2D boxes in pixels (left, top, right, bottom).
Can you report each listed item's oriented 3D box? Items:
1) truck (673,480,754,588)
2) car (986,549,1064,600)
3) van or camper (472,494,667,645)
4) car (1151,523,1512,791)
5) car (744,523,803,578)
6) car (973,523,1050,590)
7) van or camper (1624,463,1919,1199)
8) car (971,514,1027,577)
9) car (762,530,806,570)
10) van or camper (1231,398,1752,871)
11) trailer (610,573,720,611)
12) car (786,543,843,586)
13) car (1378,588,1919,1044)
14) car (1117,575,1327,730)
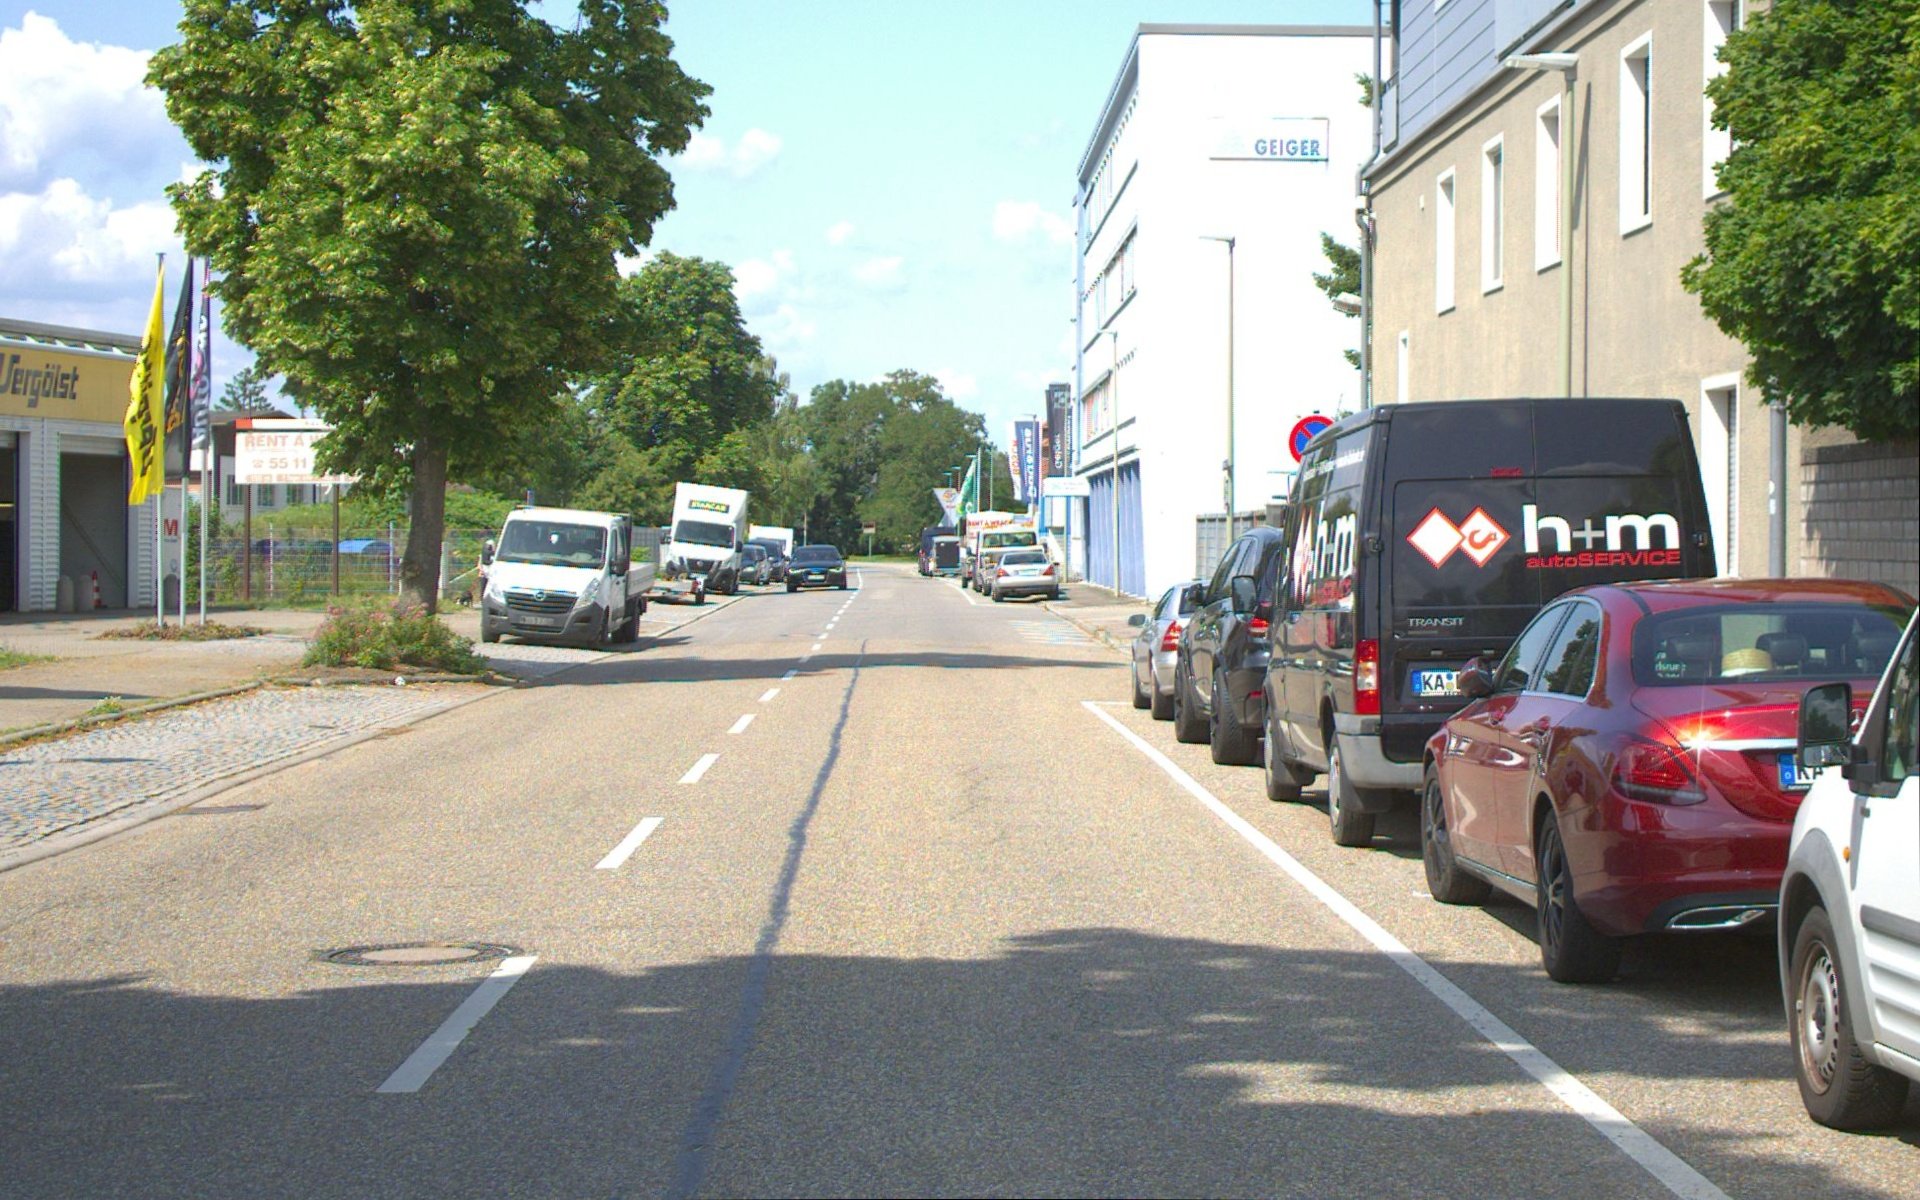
[{"bbox_3d":[-7.394,-1.993,103.643,2.029,3.143,6.500,0,1,-1],"label":"truck"},{"bbox_3d":[1.710,-0.692,91.687,1.928,1.306,4.000,0,1,-1],"label":"car"},{"bbox_3d":[-6.628,-0.566,59.322,2.174,2.405,7.697,1,1,2],"label":"van or camper"},{"bbox_3d":[2.693,0.352,26.101,1.960,1.774,4.955,2,1,-2],"label":"car"},{"bbox_3d":[-6.840,-1.830,126.377,1.993,2.007,4.000,0,1,-1],"label":"car"},{"bbox_3d":[1.544,-1.355,105.520,2.216,2.007,5.485,0,1,-1],"label":"car"},{"bbox_3d":[3.135,0.587,8.723,1.759,1.799,5.587,1,1,0],"label":"van or camper"},{"bbox_3d":[1.300,-1.844,116.144,1.707,2.082,4.000,0,1,-1],"label":"car"},{"bbox_3d":[-7.399,-2.125,144.542,1.713,1.645,4.000,0,1,-1],"label":"car"},{"bbox_3d":[2.863,0.131,19.848,1.993,2.283,5.448,2,1,-1],"label":"van or camper"},{"bbox_3d":[-7.653,-0.223,89.659,2.417,0.811,5.537,3,1,0],"label":"trailer"},{"bbox_3d":[-4.599,-1.154,109.248,1.654,1.320,4.417,0,1,-1],"label":"car"},{"bbox_3d":[2.861,0.716,13.781,1.681,1.437,4.767,1,1,-1],"label":"car"},{"bbox_3d":[2.444,0.457,32.850,1.629,1.349,3.924,0,1,-1],"label":"car"}]
